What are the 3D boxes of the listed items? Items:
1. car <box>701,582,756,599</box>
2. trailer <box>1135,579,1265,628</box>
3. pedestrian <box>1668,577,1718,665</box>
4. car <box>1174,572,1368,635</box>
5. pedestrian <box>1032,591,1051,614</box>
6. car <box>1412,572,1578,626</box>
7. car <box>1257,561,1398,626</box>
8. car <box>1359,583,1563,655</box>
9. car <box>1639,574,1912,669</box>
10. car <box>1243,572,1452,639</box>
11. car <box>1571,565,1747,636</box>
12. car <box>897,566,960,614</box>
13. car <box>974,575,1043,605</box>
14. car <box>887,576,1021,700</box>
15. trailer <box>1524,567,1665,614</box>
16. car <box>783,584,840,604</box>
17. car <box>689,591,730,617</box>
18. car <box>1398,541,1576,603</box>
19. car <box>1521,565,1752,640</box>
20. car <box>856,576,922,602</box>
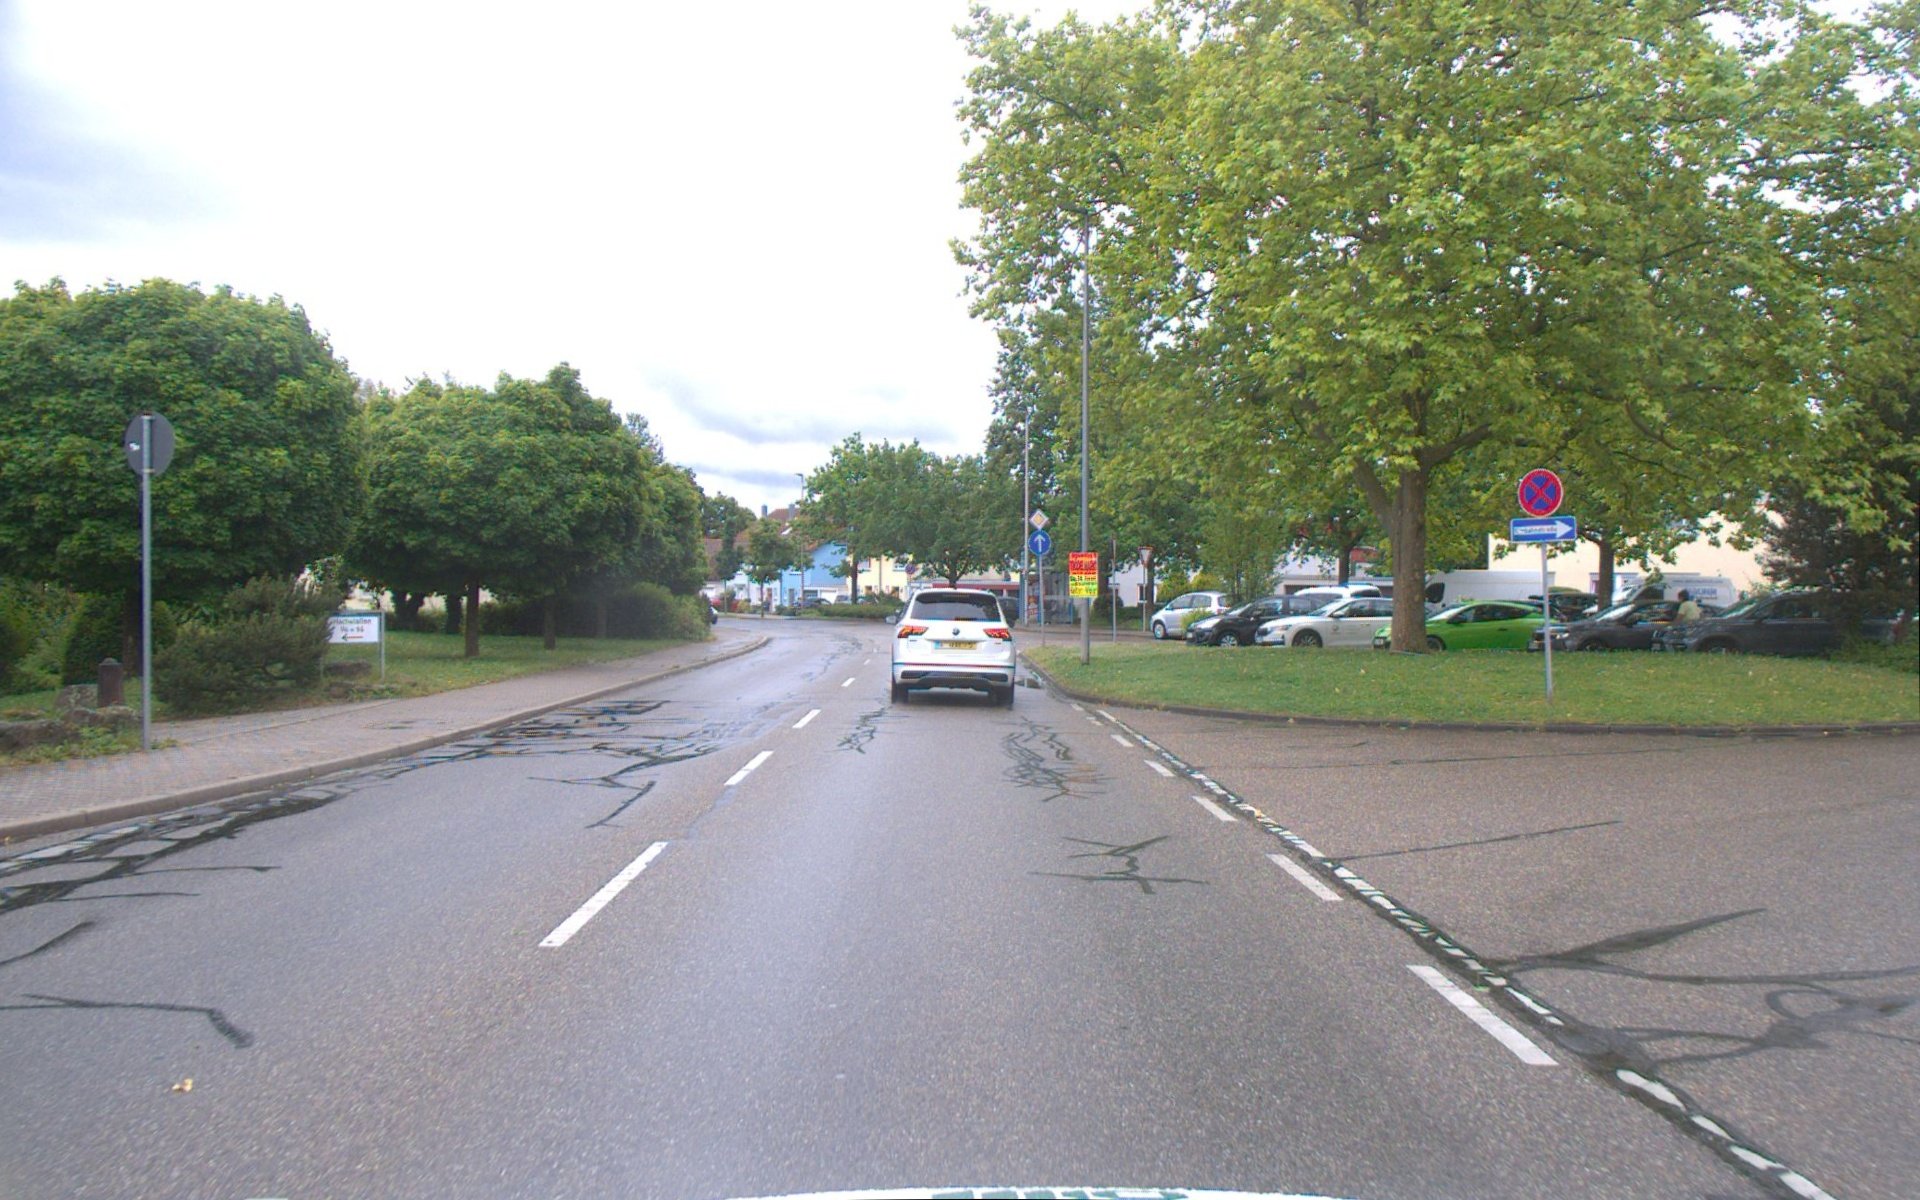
[{"bbox_3d":[-18.671,-0.735,133.641,1.651,1.282,4.287,2,1,44],"label":"car"},{"bbox_3d":[8.111,0.089,56.313,1.977,1.570,4.372,-1,1,-35],"label":"trailer"},{"bbox_3d":[14.166,0.393,31.990,0.723,1.680,0.587,0,1,2],"label":"pedestrian"},{"bbox_3d":[7.776,0.075,41.577,4.485,1.468,1.762,-1,1,-7],"label":"car"},{"bbox_3d":[3.624,0.117,73.351,0.735,1.029,0.550,0,1,-10],"label":"pedestrian"},{"bbox_3d":[14.676,-0.061,45.550,1.746,1.407,4.134,-1,1,-36],"label":"car"},{"bbox_3d":[11.334,-0.217,51.263,1.974,1.914,4.168,-1,1,-31],"label":"car"},{"bbox_3d":[10.973,0.403,36.371,3.933,1.468,1.762,-1,1,-7],"label":"car"},{"bbox_3d":[14.972,0.382,30.565,4.188,1.655,1.766,-1,1,9],"label":"car"},{"bbox_3d":[9.125,0.103,39.080,4.485,1.468,1.762,-1,1,-7],"label":"car"},{"bbox_3d":[21.523,-0.012,51.007,4.660,2.049,1.997,-1,1,-8],"label":"car"},{"bbox_3d":[-1.094,-0.351,55.895,1.735,1.578,3.994,0,1,-7],"label":"car"},{"bbox_3d":[2.984,-0.626,100.996,3.958,1.751,1.899,-1,1,-38],"label":"car"},{"bbox_3d":[-0.099,0.497,24.935,1.827,1.679,4.000,-1,1,-1],"label":"car"},{"bbox_3d":[20.427,-0.313,53.316,3.905,1.462,1.712,0,1,0],"label":"trailer"},{"bbox_3d":[-10.804,-0.447,120.528,3.962,1.411,1.651,0,1,-40],"label":"car"},{"bbox_3d":[-14.599,0.202,96.303,1.714,1.439,4.121,0,1,-18],"label":"car"},{"bbox_3d":[18.498,-0.997,58.125,5.717,2.049,1.995,-1,1,-12],"label":"car"},{"bbox_3d":[13.497,0.029,33.117,3.933,1.395,1.762,-1,1,-7],"label":"car"},{"bbox_3d":[-4.808,-0.763,112.078,4.145,1.700,1.967,-1,1,-35],"label":"car"}]
